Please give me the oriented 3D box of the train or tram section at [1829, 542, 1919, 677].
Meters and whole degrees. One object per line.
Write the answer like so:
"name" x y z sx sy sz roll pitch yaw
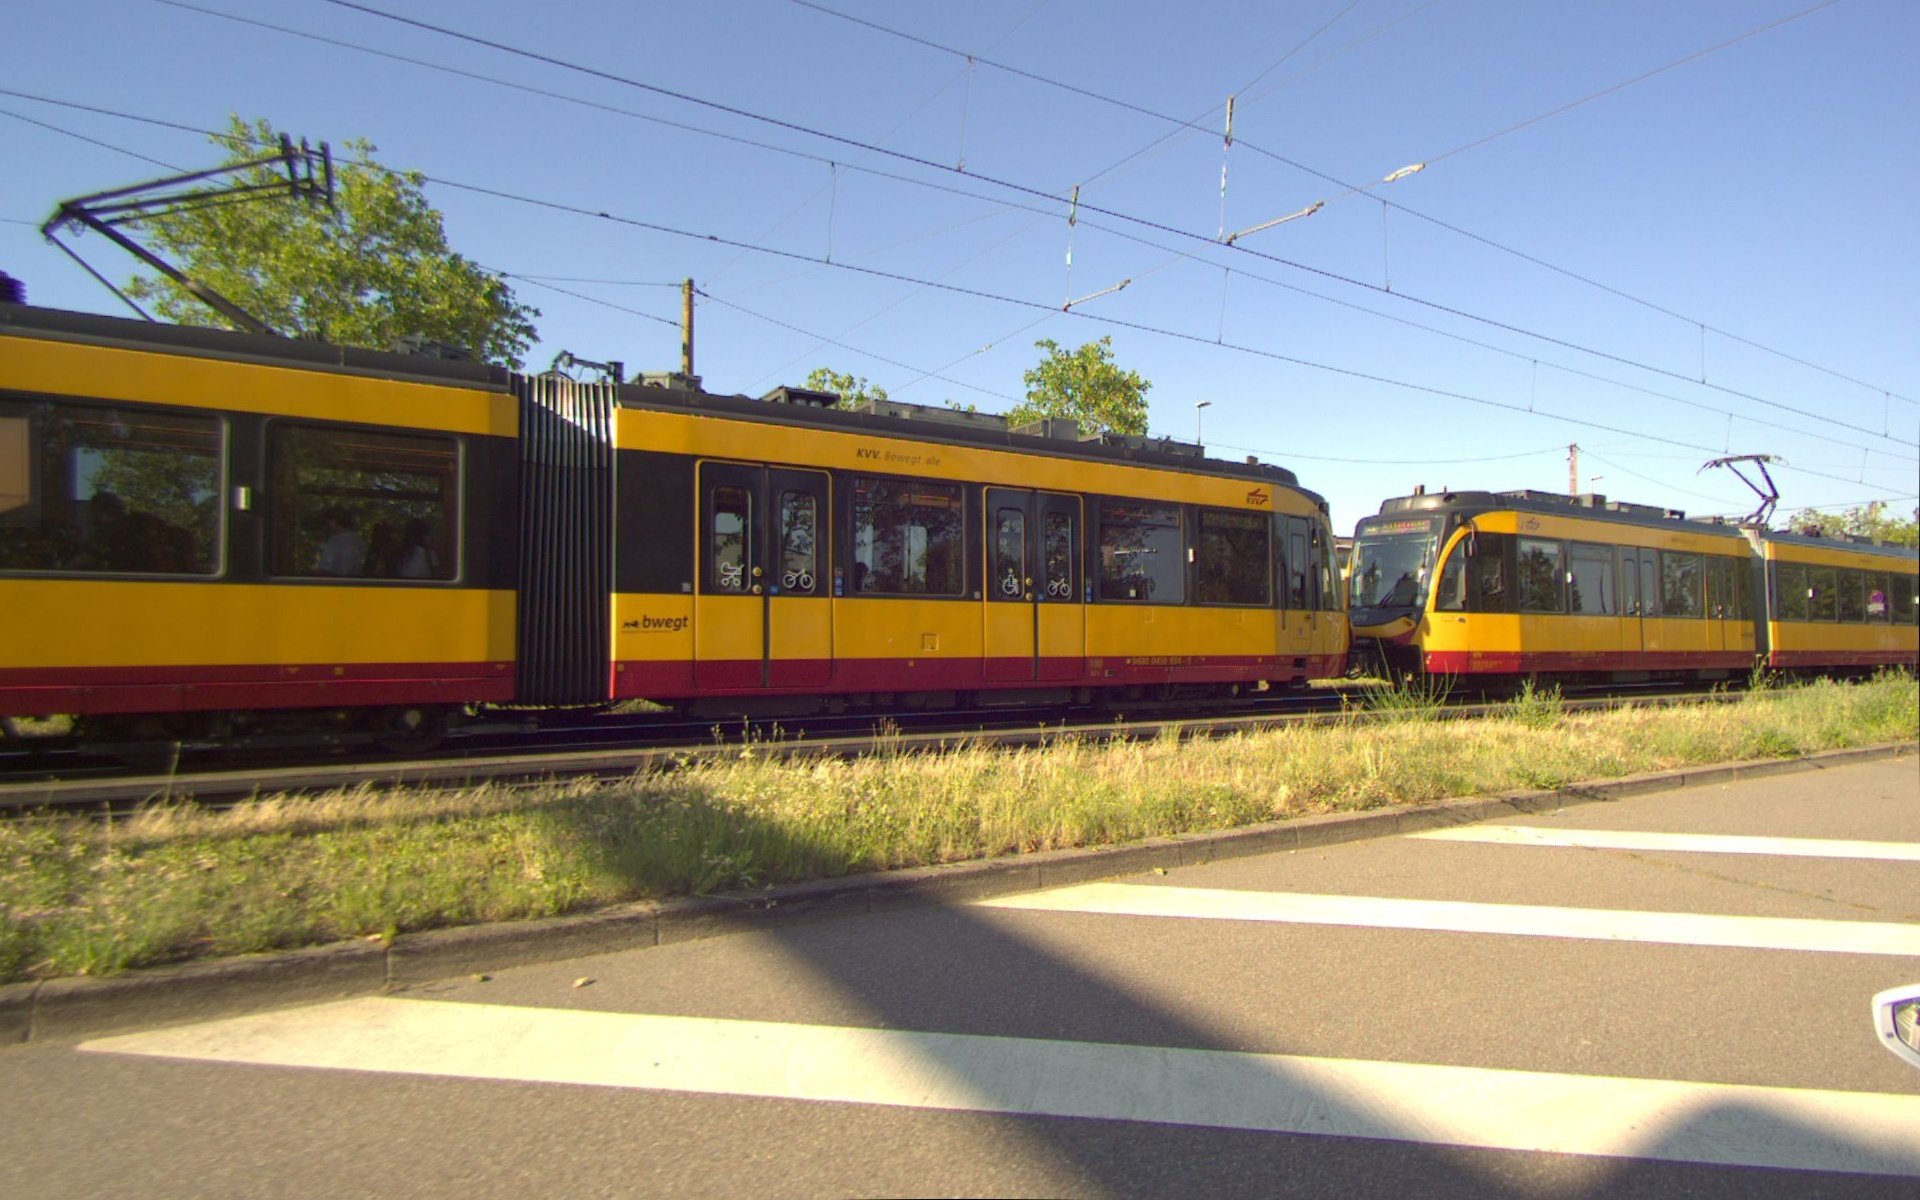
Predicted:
"train or tram section" 32.710 0.409 33.182 10.710 4.003 2.809 2 0 -31

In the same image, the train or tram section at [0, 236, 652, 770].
"train or tram section" -8.844 -0.755 8.017 11.855 3.954 2.789 2 0 -31

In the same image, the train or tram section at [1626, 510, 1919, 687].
"train or tram section" 22.771 0.109 27.164 12.508 4.003 2.809 2 0 -31

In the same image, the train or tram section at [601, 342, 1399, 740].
"train or tram section" 1.300 -0.448 14.230 11.678 3.954 2.789 2 0 -31

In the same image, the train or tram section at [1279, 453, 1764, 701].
"train or tram section" 12.039 -0.215 20.655 12.561 4.003 2.809 2 0 -31
